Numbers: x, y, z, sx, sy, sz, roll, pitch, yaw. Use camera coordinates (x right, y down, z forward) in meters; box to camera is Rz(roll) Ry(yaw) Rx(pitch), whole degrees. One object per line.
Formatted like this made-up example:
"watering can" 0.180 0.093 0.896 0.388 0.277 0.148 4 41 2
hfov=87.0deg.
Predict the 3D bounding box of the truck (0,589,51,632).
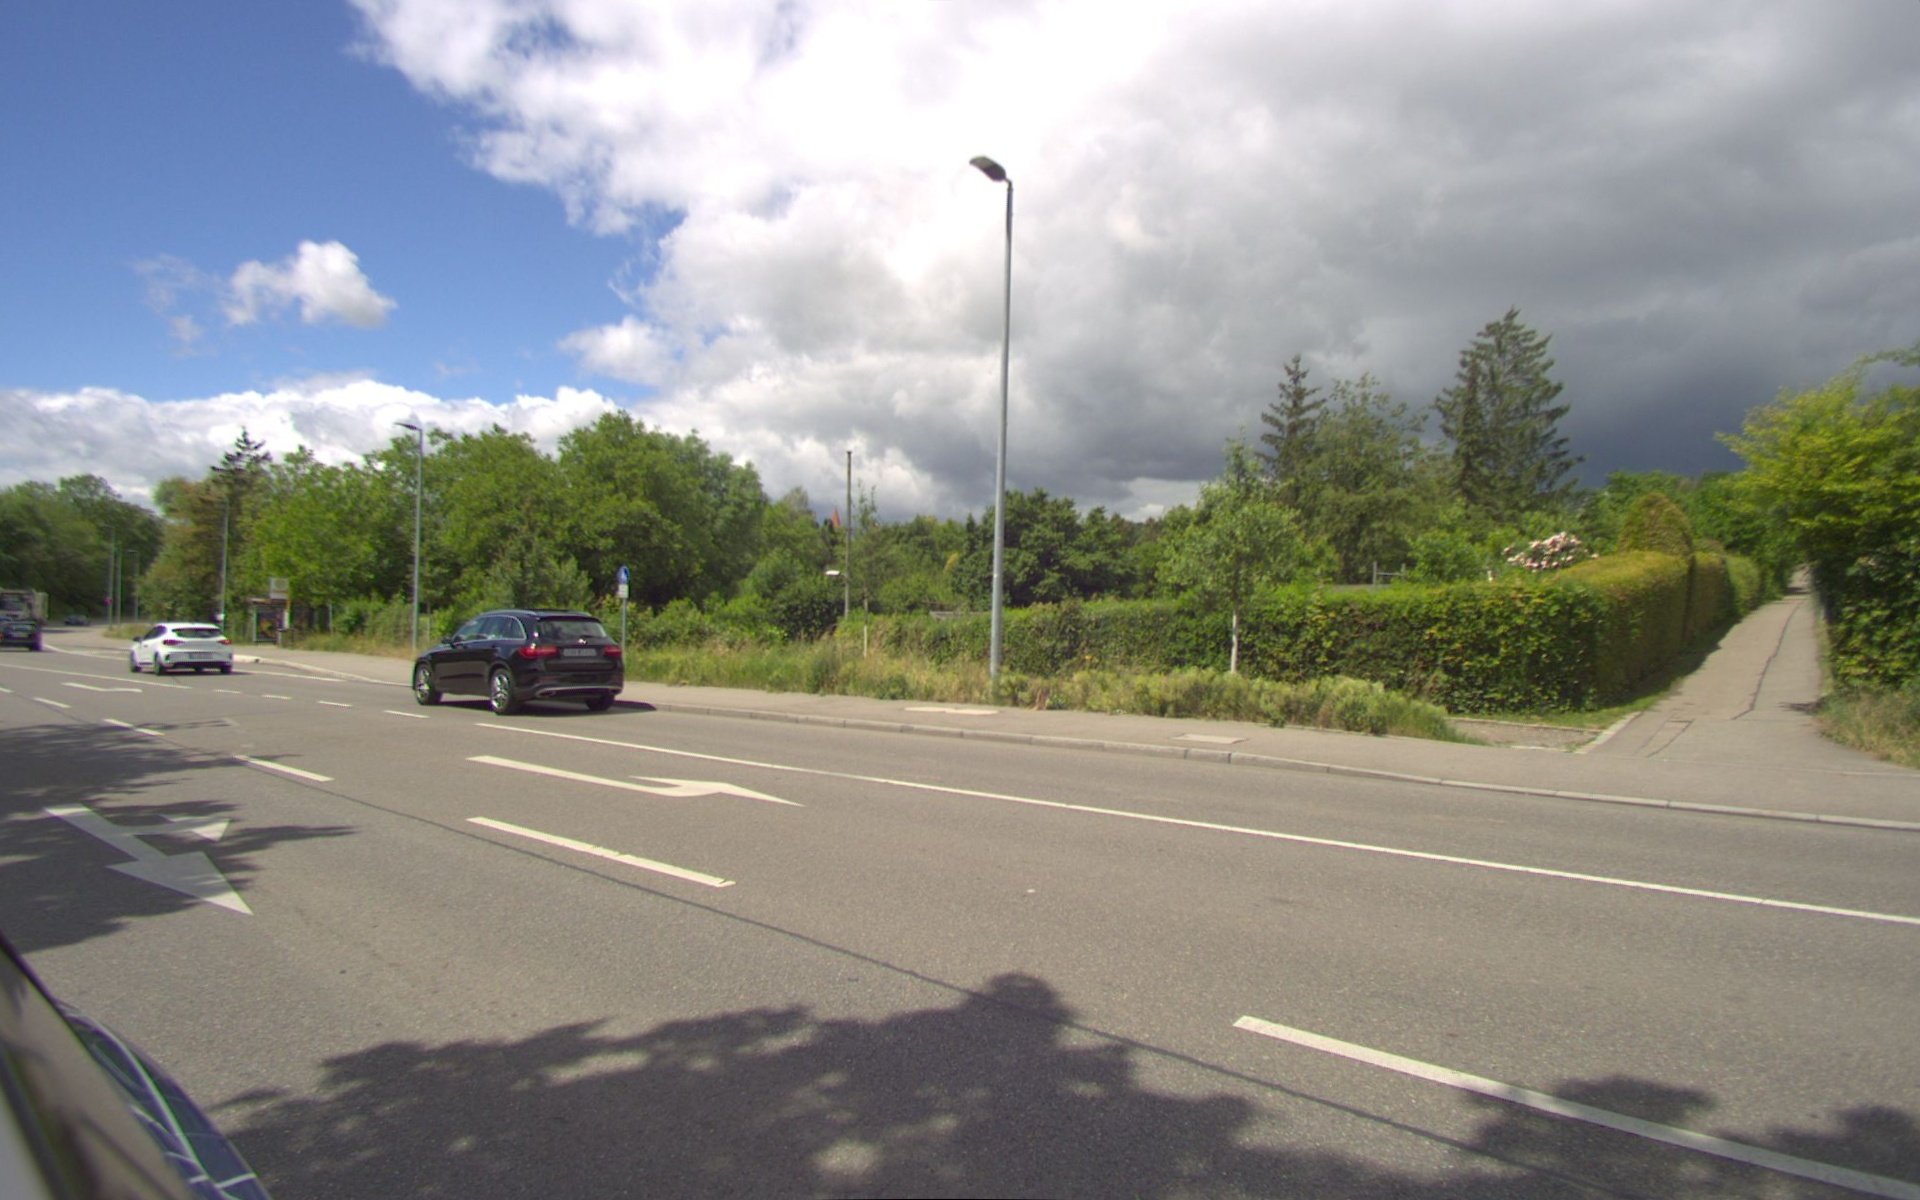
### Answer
"truck" -91.325 0.998 97.878 3.188 3.890 9.902 3 -2 -32

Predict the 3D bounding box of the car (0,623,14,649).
"car" -60.290 2.256 62.880 4.628 1.569 1.803 -2 -4 42

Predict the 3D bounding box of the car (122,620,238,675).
"car" -22.271 1.315 28.863 3.896 1.453 1.748 -1 -2 39

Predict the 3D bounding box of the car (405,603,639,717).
"car" -7.437 0.936 16.980 4.530 1.667 1.802 -1 -3 41

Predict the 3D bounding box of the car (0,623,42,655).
"car" -45.200 1.830 48.024 4.372 1.453 1.748 -1 -2 39

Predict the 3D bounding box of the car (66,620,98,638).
"car" -105.649 3.449 121.811 1.965 2.029 4.013 3 -2 -27
